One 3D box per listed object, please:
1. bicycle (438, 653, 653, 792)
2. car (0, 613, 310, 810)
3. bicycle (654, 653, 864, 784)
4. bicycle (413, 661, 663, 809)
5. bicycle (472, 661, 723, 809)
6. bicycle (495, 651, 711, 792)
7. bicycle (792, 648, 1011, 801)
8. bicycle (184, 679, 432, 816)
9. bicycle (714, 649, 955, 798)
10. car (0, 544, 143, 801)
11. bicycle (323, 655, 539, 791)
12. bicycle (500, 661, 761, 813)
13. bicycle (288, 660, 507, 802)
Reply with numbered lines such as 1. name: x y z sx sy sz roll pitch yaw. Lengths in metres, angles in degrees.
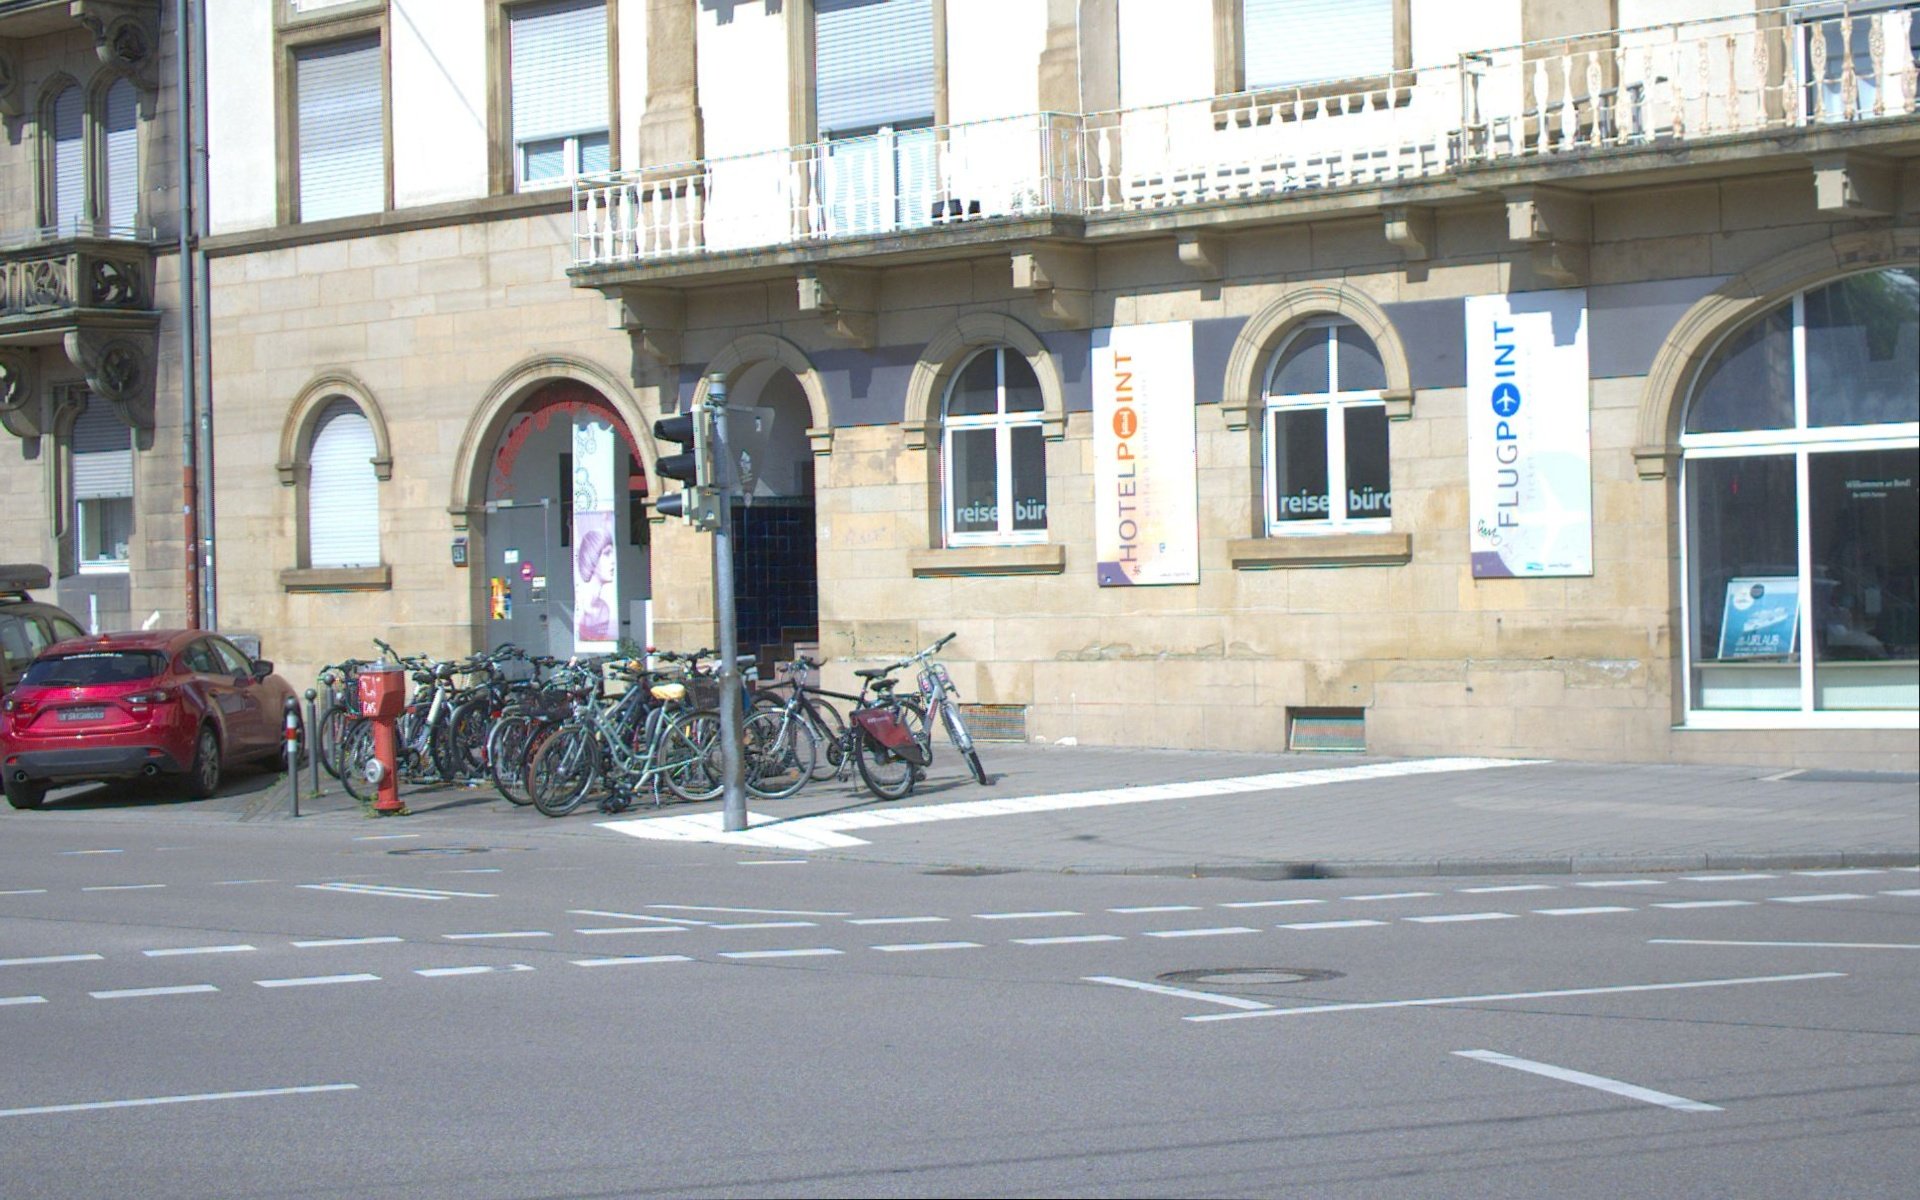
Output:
1. bicycle: -3.526 1.027 29.395 0.540 1.015 1.924 -1 3 40
2. car: -7.388 0.958 30.975 1.962 1.436 4.000 -2 2 5
3. bicycle: -1.684 0.963 28.516 1.927 1.015 0.539 -1 3 45
4. bicycle: -3.385 1.073 27.663 1.923 1.015 0.540 -4 2 -35
5. bicycle: -2.874 1.055 27.341 1.923 1.015 0.540 -4 2 -35
6. bicycle: -2.988 1.007 28.962 0.540 1.015 1.924 -1 3 40
7. bicycle: -0.431 0.941 26.491 0.609 1.015 1.873 -1 2 38
8. bicycle: -5.180 1.176 27.278 1.925 1.015 0.539 -2 2 25
9. bicycle: -0.974 0.952 27.063 1.872 1.015 0.609 -4 2 -40
10. car: -9.555 0.667 33.248 1.962 2.075 4.001 -2 5 5
11. bicycle: -4.588 1.055 29.917 0.540 1.015 1.924 -1 3 40
12. bicycle: -2.547 1.048 26.626 1.870 1.015 0.602 -3 2 -23
13. bicycle: -4.698 1.082 28.836 0.539 1.015 1.925 -1 3 37
